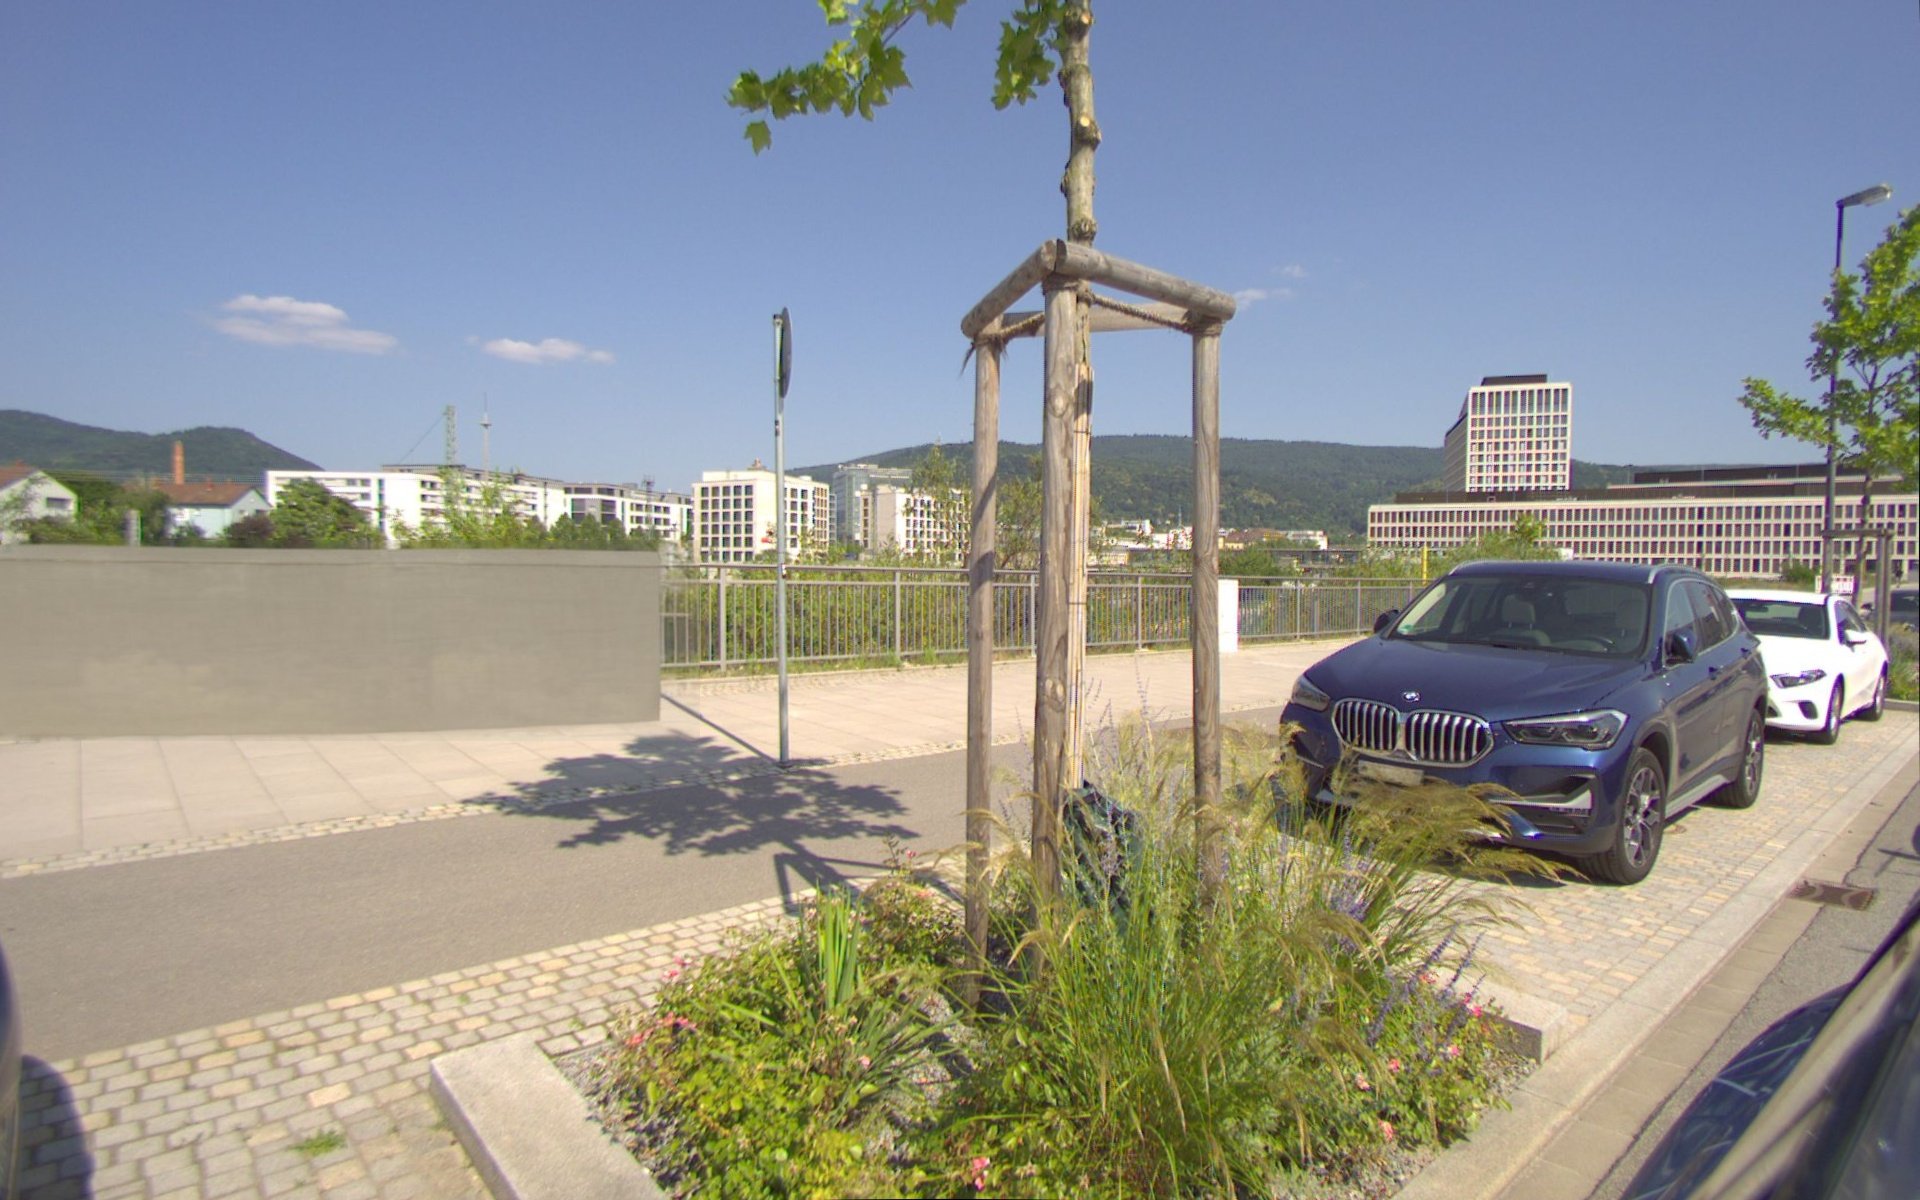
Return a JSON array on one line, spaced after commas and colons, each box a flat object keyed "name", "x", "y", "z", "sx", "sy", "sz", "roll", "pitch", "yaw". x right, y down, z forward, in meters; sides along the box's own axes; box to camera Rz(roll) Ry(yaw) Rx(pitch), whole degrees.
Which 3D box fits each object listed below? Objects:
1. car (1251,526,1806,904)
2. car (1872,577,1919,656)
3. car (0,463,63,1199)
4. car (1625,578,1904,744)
[{"name": "car", "x": 3.786, "y": 0.469, "z": 6.404, "sx": 4.164, "sy": 1.627, "sz": 1.768, "roll": -1, "pitch": 0, "yaw": -41}, {"name": "car", "x": 20.386, "y": 0.301, "z": 21.041, "sx": 3.930, "sy": 1.558, "sz": 1.663, "roll": -1, "pitch": 0, "yaw": -41}, {"name": "car", "x": -2.970, "y": 0.561, "z": 0.367, "sx": 3.931, "sy": 1.444, "sz": 1.663, "roll": -1, "pitch": 3, "yaw": -42}, {"name": "car", "x": 8.769, "y": 0.515, "z": 10.915, "sx": 3.930, "sy": 1.473, "sz": 1.663, "roll": -1, "pitch": 0, "yaw": -41}]
